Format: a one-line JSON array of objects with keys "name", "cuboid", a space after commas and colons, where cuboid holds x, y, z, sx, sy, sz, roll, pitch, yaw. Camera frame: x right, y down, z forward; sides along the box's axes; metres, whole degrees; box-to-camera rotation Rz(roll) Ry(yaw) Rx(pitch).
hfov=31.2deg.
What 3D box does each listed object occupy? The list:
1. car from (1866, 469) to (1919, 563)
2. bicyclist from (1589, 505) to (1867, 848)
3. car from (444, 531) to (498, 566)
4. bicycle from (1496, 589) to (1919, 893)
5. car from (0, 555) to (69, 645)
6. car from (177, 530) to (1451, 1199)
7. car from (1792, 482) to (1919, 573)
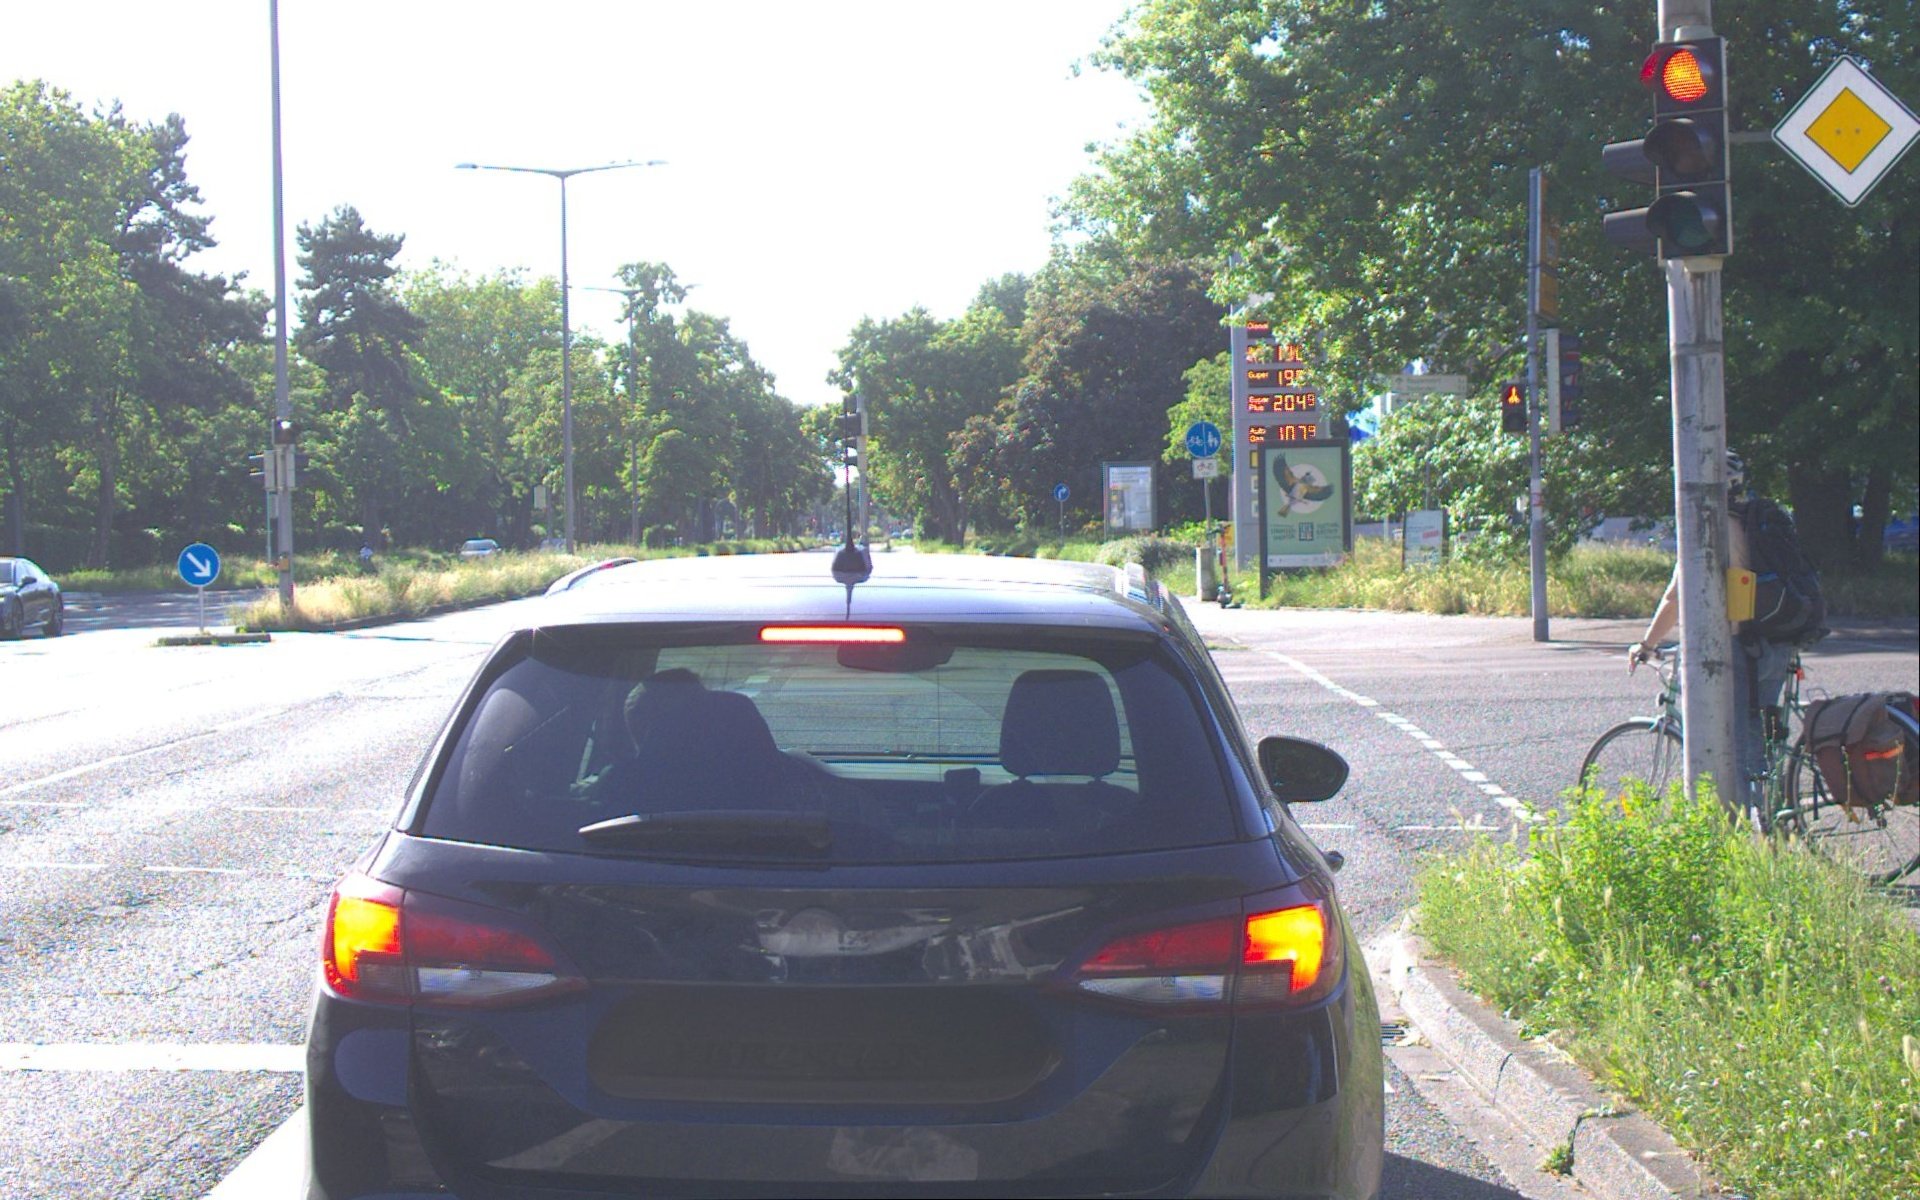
[{"name": "car", "cuboid": [17.100, -1.429, 56.724, 3.887, 1.512, 1.746, -2, 1, -23]}, {"name": "bicyclist", "cuboid": [2.974, 0.296, 13.336, 0.536, 1.272, 0.829, -3, 0, -44]}, {"name": "car", "cuboid": [-22.756, -2.419, 160.105, 1.993, 1.525, 4.000, -2, 1, -1]}, {"name": "bicycle", "cuboid": [2.986, 0.541, 13.341, 0.536, 1.094, 1.775, -3, 0, -44]}, {"name": "car", "cuboid": [-16.771, -0.007, 59.188, 1.776, 1.458, 4.165, -1, 1, -1]}, {"name": "car", "cuboid": [-0.226, 0.626, 6.855, 1.756, 1.490, 4.207, 0, 1, -1]}, {"name": "car", "cuboid": [16.625, -1.288, 59.810, 3.887, 1.512, 1.746, -2, 1, -23]}]
